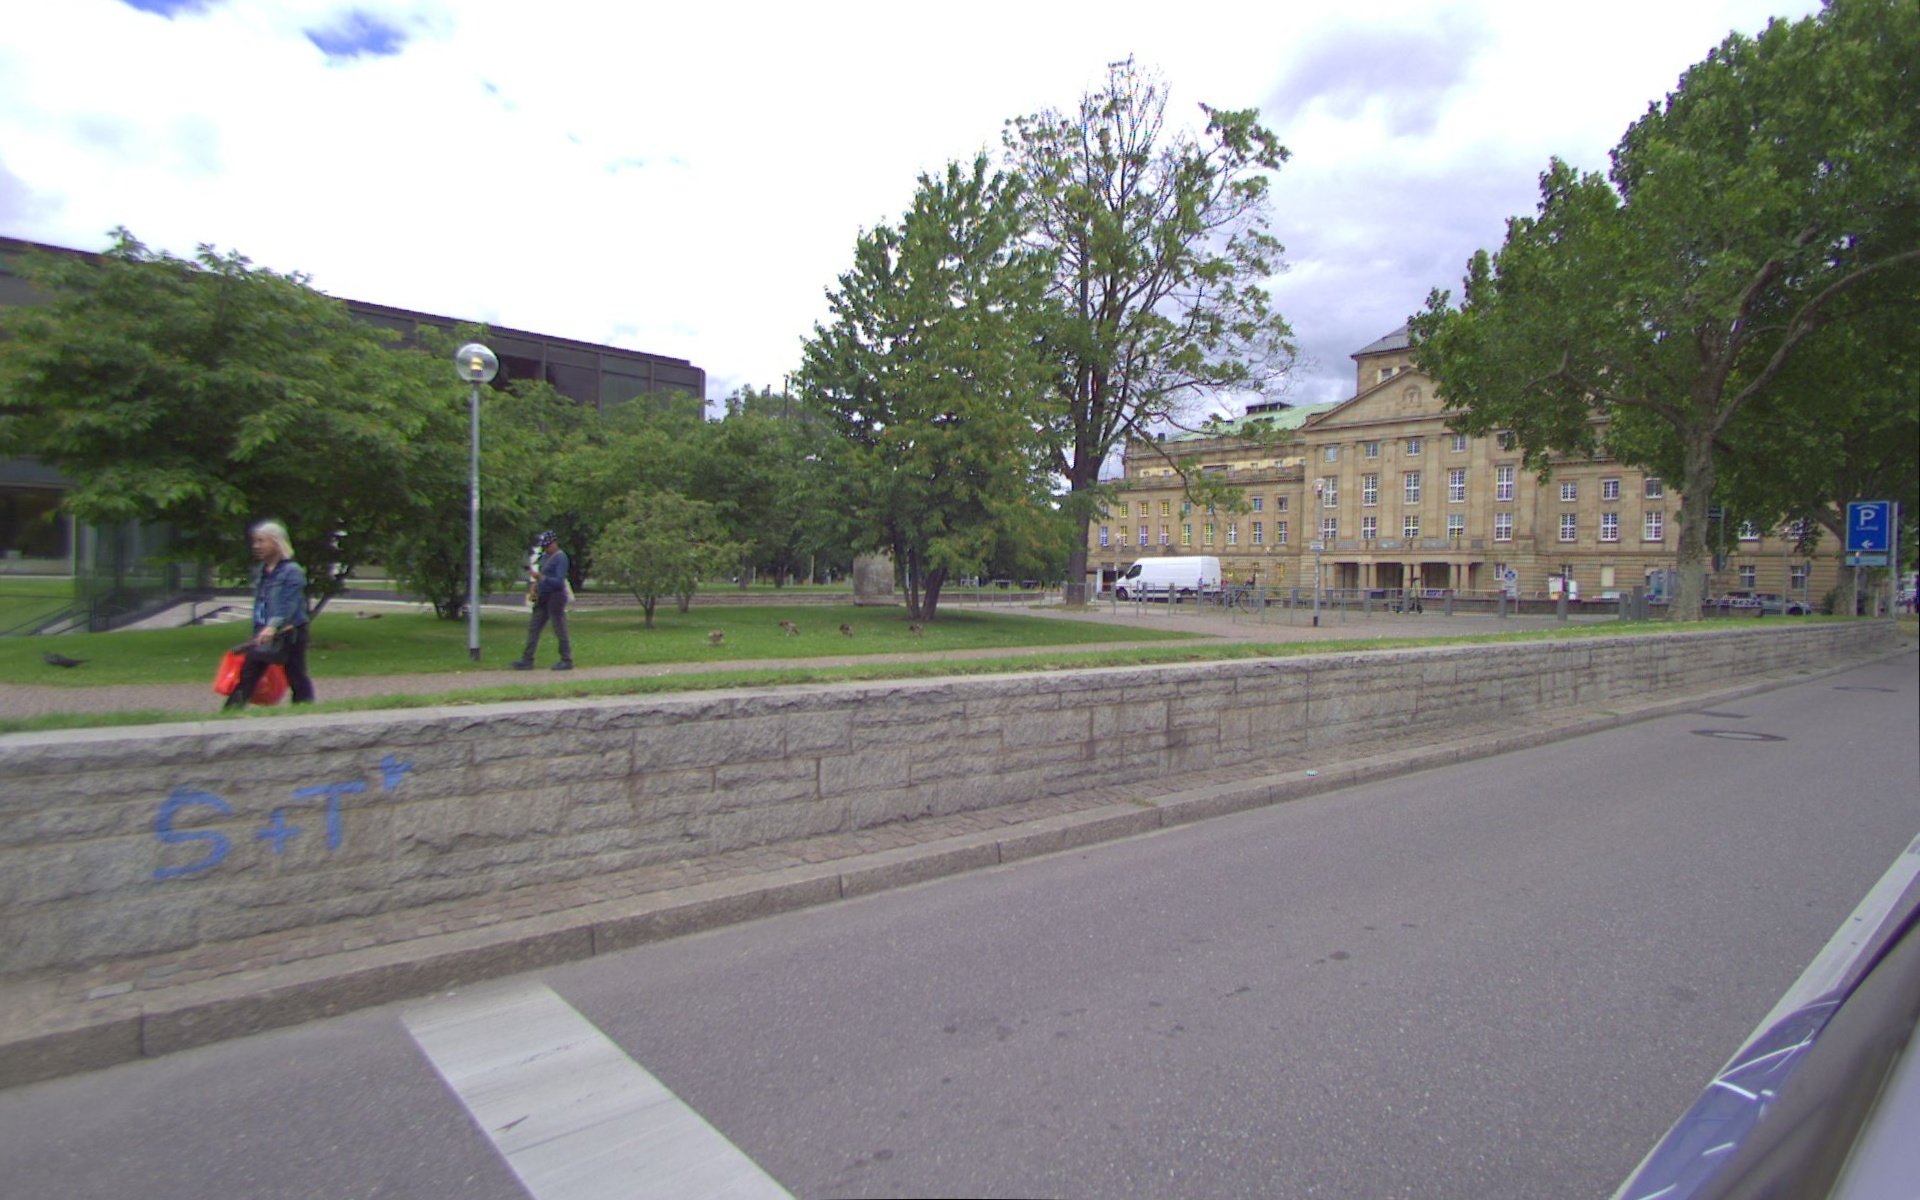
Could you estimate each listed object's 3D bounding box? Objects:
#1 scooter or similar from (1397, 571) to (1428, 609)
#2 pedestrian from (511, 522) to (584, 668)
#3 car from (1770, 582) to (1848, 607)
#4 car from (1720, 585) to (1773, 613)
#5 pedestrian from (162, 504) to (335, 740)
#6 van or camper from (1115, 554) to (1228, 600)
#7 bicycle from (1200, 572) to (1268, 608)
[{"bbox_3d":[15.689,-0.356,35.090,0.716,1.261,0.717,-1,5,-44],"label":"scooter or similar"},{"bbox_3d":[-4.849,-0.066,11.884,0.614,1.646,0.805,1,1,-34],"label":"pedestrian"},{"bbox_3d":[57.490,-0.357,68.587,3.984,1.616,1.708,-1,0,42],"label":"car"},{"bbox_3d":[47.609,-0.060,61.239,4.143,1.537,1.767,2,0,-41],"label":"car"},{"bbox_3d":[-5.068,0.144,7.270,0.889,1.581,0.686,1,1,-25],"label":"pedestrian"},{"bbox_3d":[11.329,-1.235,54.582,2.281,2.348,5.705,-2,2,-42],"label":"van or camper"},{"bbox_3d":[9.283,-0.358,34.315,0.674,1.155,2.195,0,2,-41],"label":"bicycle"}]
